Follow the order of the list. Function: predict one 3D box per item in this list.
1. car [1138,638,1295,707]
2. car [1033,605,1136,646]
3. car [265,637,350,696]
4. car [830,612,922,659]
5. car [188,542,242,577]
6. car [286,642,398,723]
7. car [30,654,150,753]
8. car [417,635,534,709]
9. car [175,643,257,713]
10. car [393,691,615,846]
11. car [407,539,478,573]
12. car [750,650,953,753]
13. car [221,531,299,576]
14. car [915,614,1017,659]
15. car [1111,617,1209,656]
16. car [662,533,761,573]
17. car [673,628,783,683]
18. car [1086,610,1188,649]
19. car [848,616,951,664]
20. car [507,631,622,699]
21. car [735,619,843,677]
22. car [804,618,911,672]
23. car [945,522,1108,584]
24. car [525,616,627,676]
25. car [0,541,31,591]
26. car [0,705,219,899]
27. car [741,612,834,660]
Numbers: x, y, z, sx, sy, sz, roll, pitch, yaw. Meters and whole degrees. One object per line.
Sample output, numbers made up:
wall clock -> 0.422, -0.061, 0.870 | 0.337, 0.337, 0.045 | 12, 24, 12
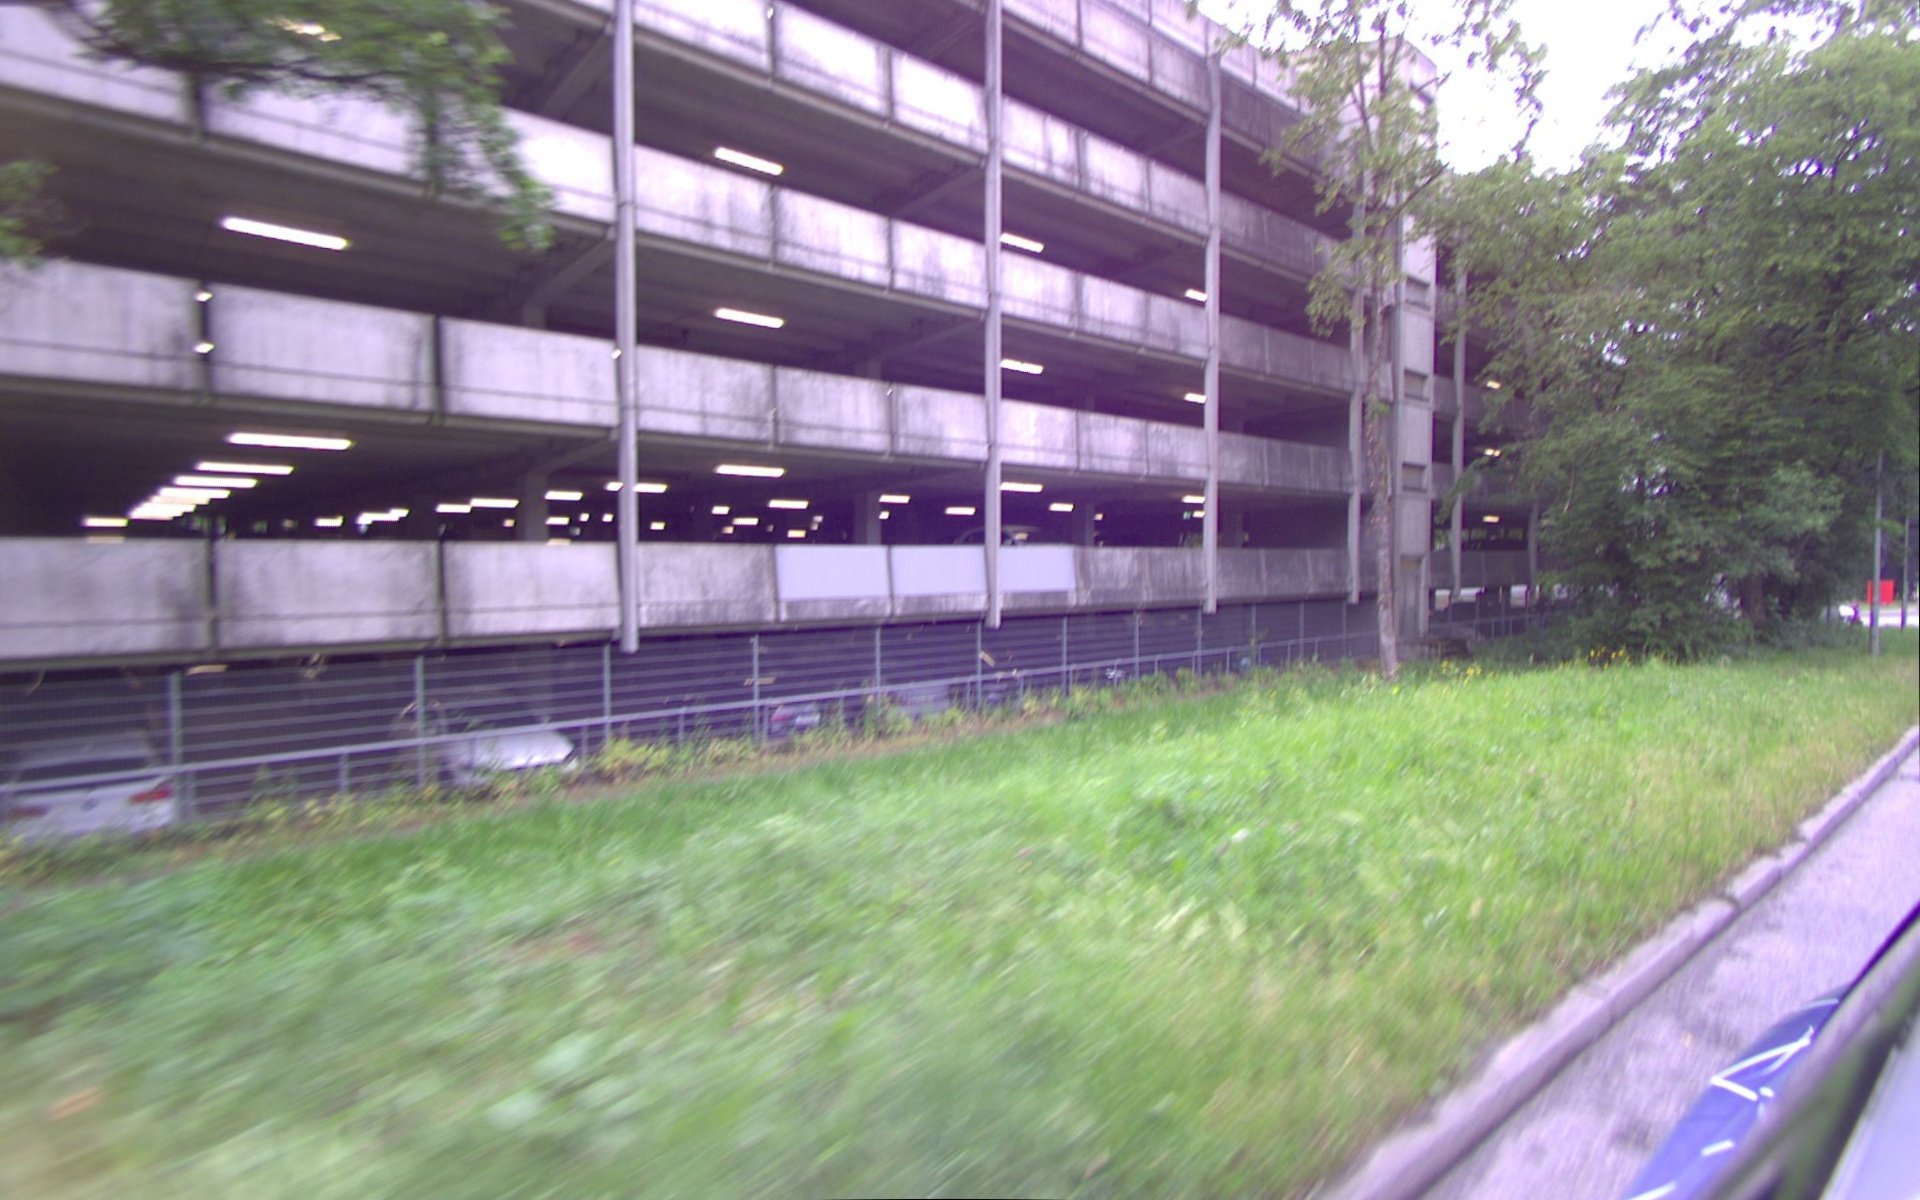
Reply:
car -> 7.278, 1.996, 28.994 | 1.832, 1.552, 3.991 | 0, 2, -43
car -> 5.132, 1.011, 42.003 | 1.795, 1.470, 4.063 | 0, 1, -43
car -> -17.703, 1.744, 27.410 | 1.418, 1.349, 3.129 | -1, 1, -43
car -> -3.380, 1.365, 40.295 | 1.759, 1.563, 3.695 | -2, 3, -44
car -> -35.976, -1.950, 48.825 | 1.828, 1.610, 4.187 | -3, 3, -39
car -> -14.617, 1.869, 23.875 | 1.645, 1.459, 3.668 | -1, 3, -42
car -> -17.617, 2.000, 20.439 | 1.646, 1.459, 3.666 | -2, 3, -44
car -> -12.348, 1.757, 25.699 | 1.646, 1.459, 3.666 | -1, 3, -44
car -> -19.092, 1.937, 25.979 | 1.572, 1.323, 3.703 | -2, 3, -37
car -> -7.291, 2.494, 15.972 | 1.917, 1.525, 4.259 | -1, 3, -43
car -> -22.925, -1.928, 44.788 | 1.829, 1.445, 4.185 | -3, 3, -41
car -> -2.382, 2.008, 21.293 | 1.915, 1.525, 4.598 | 0, 2, -42
car -> -24.808, -1.644, 35.811 | 1.829, 1.503, 3.763 | -3, 3, -41
car -> 0.164, 1.284, 36.721 | 1.645, 1.367, 3.667 | -1, 3, -43
car -> 9.035, 1.624, 45.952 | 1.795, 1.506, 4.063 | 0, 1, -43
car -> -8.886, -1.638, 36.001 | 1.651, 1.343, 3.991 | -3, 3, -43
car -> -7.069, 1.623, 30.710 | 1.645, 1.299, 3.667 | -1, 3, -43
car -> 7.557, 1.217, 43.416 | 1.795, 1.433, 4.063 | 0, 1, -43
car -> -2.169, 1.368, 35.458 | 1.645, 1.367, 3.667 | -1, 3, -43
car -> -10.786, 1.706, 27.466 | 1.646, 1.459, 3.666 | -1, 3, -44
car -> -5.443, 1.477, 31.996 | 1.645, 1.497, 3.667 | -1, 3, -43
car -> -3.457, 1.447, 33.702 | 1.645, 1.501, 3.667 | -1, 3, -43
car -> 1.507, -1.107, 24.237 | 1.799, 1.360, 3.843 | 0, 2, -38
car -> -12.352, 1.431, 32.501 | 1.759, 1.563, 3.695 | -2, 3, -44
car -> -33.756, -1.153, 35.198 | 1.828, 1.661, 4.187 | -3, 3, -39
car -> -10.844, 2.355, 12.773 | 1.917, 1.454, 4.009 | -2, 3, -43
car -> -6.371, 1.279, 37.191 | 1.645, 1.501, 3.667 | -1, 3, -43
